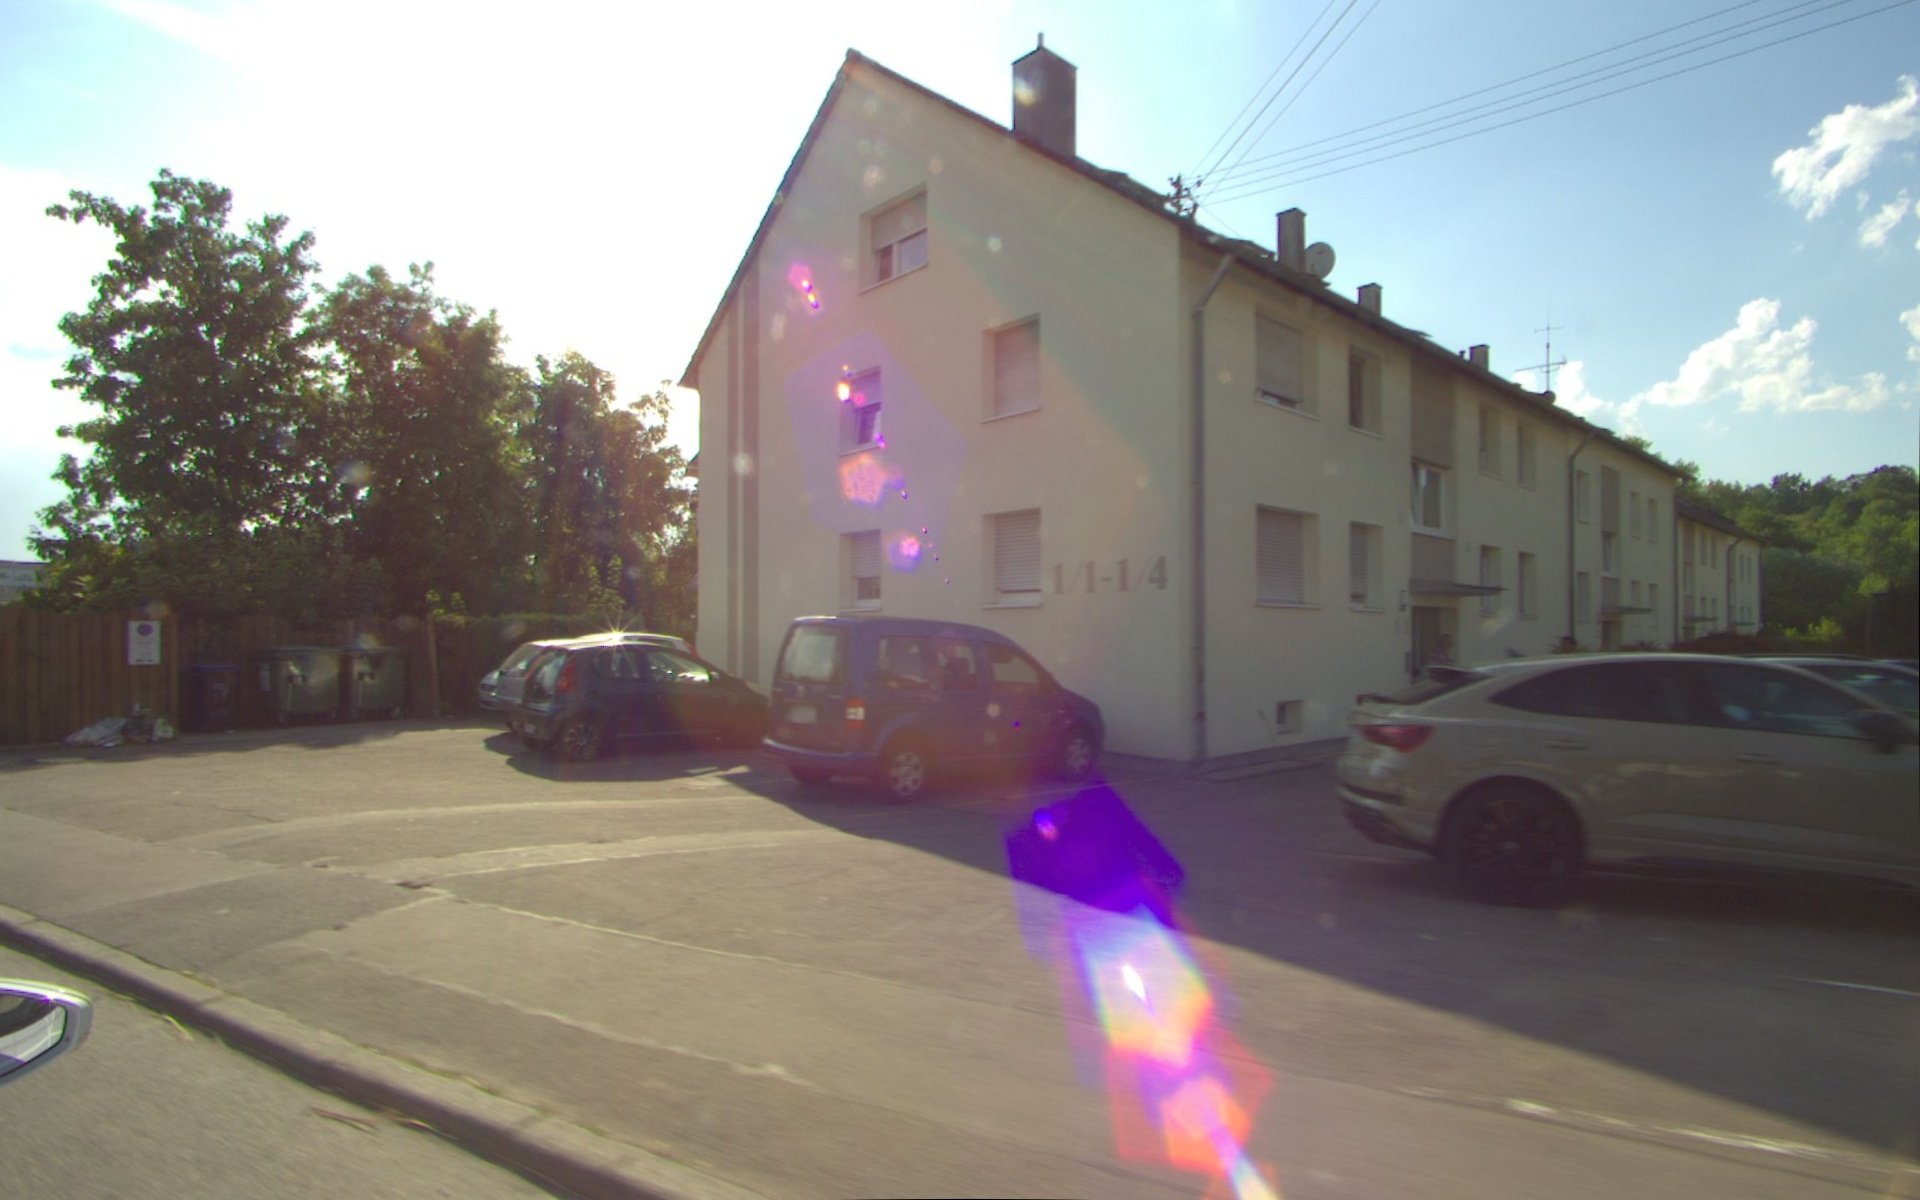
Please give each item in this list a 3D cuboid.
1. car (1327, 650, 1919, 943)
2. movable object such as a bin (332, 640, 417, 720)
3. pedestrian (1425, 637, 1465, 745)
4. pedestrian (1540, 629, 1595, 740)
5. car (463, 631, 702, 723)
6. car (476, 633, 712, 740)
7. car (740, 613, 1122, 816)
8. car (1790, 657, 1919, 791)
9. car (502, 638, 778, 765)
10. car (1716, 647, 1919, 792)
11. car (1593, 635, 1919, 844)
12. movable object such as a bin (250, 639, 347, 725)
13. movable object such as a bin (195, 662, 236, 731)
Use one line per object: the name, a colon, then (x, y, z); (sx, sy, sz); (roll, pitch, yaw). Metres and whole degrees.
car: (4.651, 1.140, 6.404); (4.199, 1.537, 1.700); (0, -5, 16)
movable object such as a bin: (-10.415, 1.397, 17.823); (0.993, 1.354, 1.035); (0, -1, 42)
pedestrian: (7.979, 1.481, 16.475); (0.530, 1.727, 0.409); (1, 0, -40)
pedestrian: (9.701, 1.326, 15.991); (0.664, 1.727, 0.436); (0, 0, 20)
car: (-6.761, 1.339, 18.163); (3.719, 1.469, 1.620); (3, -2, -43)
car: (-5.700, 1.289, 15.756); (3.107, 1.469, 1.561); (2, -2, -43)
car: (-0.180, 1.133, 11.311); (4.174, 1.810, 1.749); (3, 0, -44)
car: (12.857, 1.519, 12.379); (3.609, 1.520, 1.678); (0, -1, 15)
car: (-4.283, 1.286, 13.619); (3.188, 1.469, 1.634); (2, -2, -43)
car: (10.514, 1.230, 10.607); (3.609, 1.425, 1.679); (0, -2, 15)
car: (7.673, 1.116, 8.386); (3.609, 1.563, 1.765); (0, -3, 15)
movable object such as a bin: (-11.159, 1.384, 16.891); (1.035, 1.352, 1.146); (-8, -7, 42)
movable object such as a bin: (-11.886, 1.529, 15.992); (0.437, 1.058, 0.429); (0, -1, 42)
